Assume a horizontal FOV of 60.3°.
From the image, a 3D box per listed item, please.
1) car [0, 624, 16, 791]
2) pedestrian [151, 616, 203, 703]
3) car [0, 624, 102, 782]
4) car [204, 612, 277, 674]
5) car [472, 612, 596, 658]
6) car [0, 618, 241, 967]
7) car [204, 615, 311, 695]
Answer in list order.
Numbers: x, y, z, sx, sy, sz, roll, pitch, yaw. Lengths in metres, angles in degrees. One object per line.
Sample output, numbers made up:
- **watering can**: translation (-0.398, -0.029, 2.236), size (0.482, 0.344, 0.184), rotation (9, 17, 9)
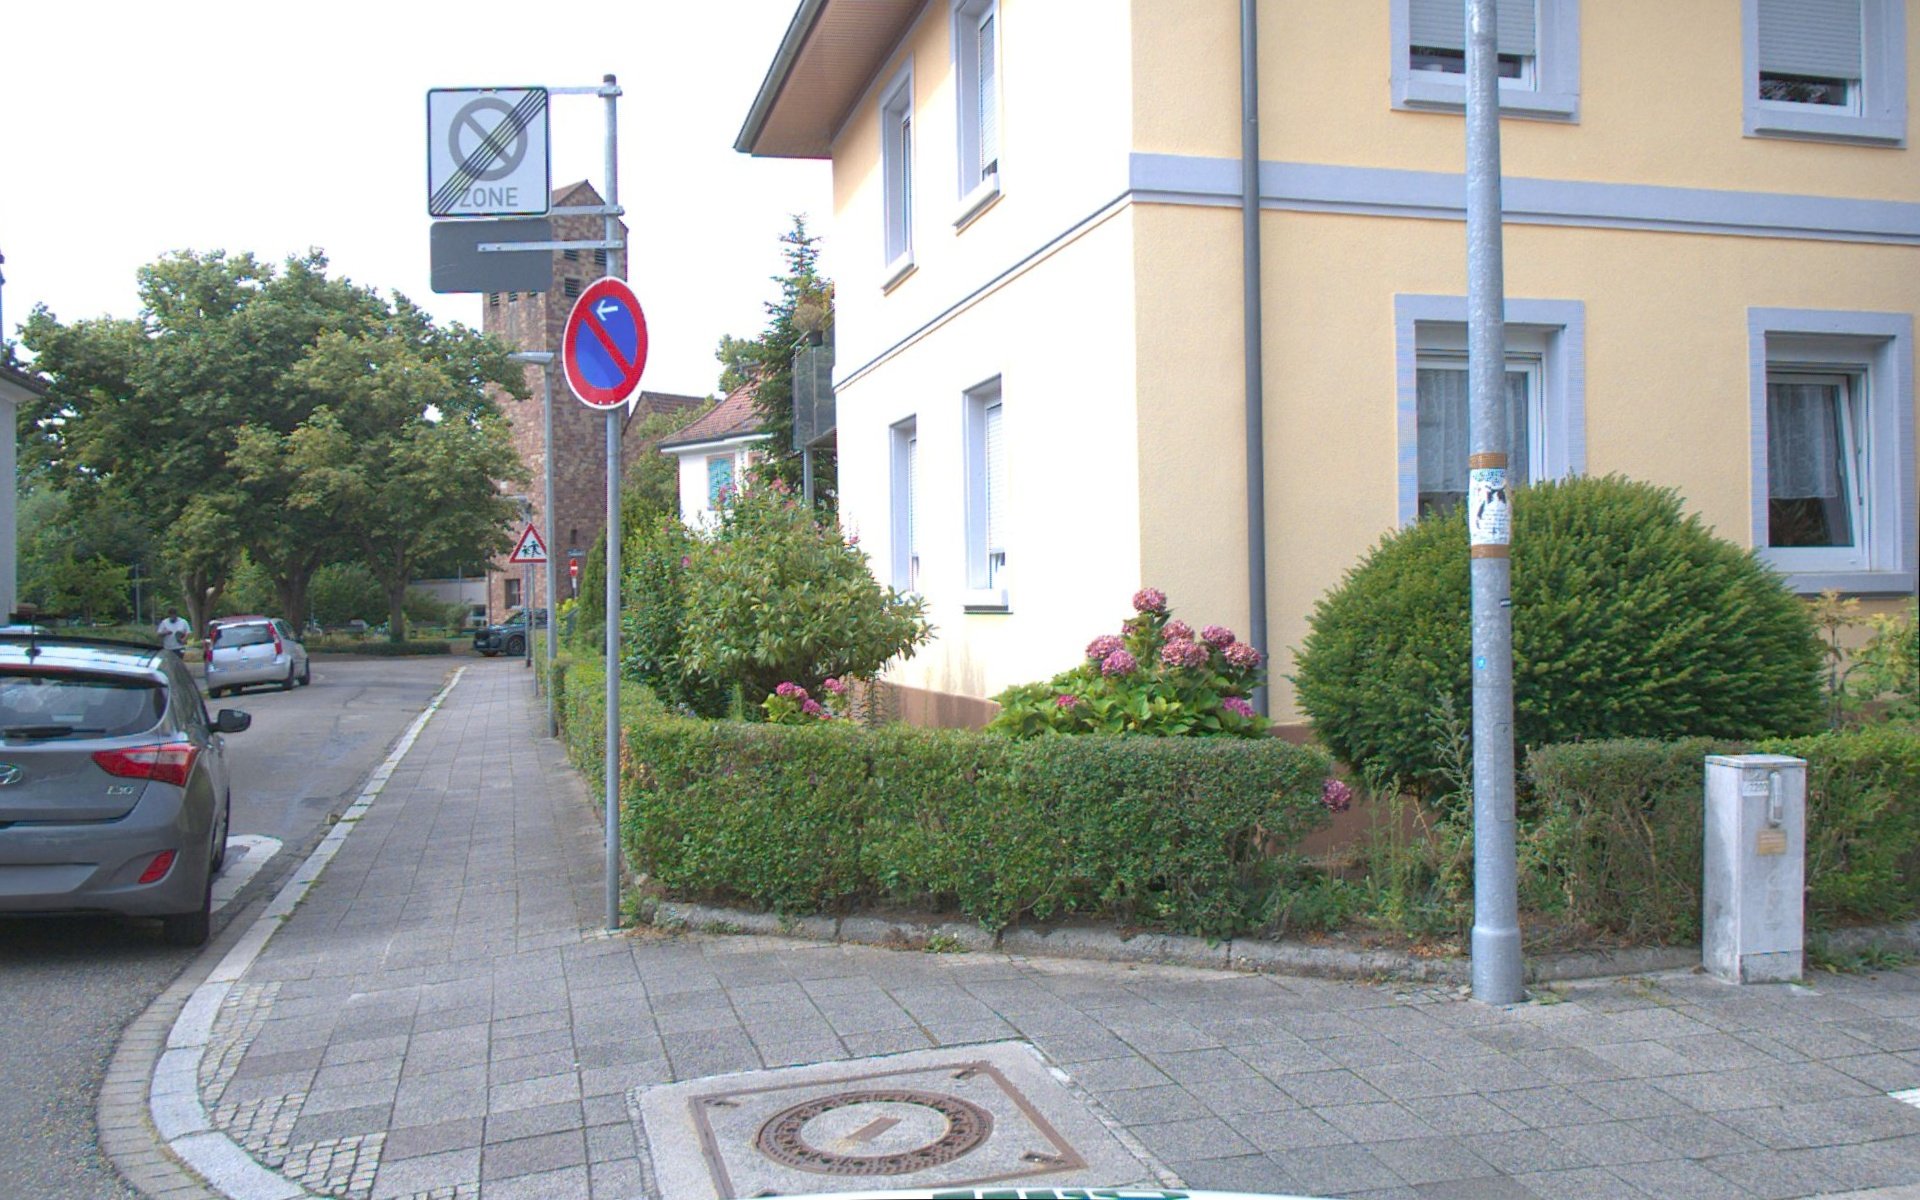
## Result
- **car**: translation (-9.229, 1.027, 13.661), size (1.620, 1.521, 3.465), rotation (-4, 1, -16)
- **pedestrian**: translation (-17.768, 1.335, 37.559), size (0.867, 1.911, 1.074), rotation (-1, 0, -15)
- **car**: translation (-10.544, 1.087, 17.761), size (1.620, 1.521, 3.465), rotation (-4, 1, -16)
- **car**: translation (-19.744, 1.161, 45.507), size (1.623, 1.521, 3.458), rotation (-4, 1, -22)
- **car**: translation (-14.893, 1.203, 57.867), size (4.146, 1.489, 1.677), rotation (-1, 1, -17)
- **car**: translation (-4.995, 0.870, 9.093), size (1.823, 1.507, 4.013), rotation (-1, 0, -23)
- **car**: translation (-15.089, 1.140, 35.656), size (1.620, 1.521, 3.465), rotation (-4, 1, -16)
